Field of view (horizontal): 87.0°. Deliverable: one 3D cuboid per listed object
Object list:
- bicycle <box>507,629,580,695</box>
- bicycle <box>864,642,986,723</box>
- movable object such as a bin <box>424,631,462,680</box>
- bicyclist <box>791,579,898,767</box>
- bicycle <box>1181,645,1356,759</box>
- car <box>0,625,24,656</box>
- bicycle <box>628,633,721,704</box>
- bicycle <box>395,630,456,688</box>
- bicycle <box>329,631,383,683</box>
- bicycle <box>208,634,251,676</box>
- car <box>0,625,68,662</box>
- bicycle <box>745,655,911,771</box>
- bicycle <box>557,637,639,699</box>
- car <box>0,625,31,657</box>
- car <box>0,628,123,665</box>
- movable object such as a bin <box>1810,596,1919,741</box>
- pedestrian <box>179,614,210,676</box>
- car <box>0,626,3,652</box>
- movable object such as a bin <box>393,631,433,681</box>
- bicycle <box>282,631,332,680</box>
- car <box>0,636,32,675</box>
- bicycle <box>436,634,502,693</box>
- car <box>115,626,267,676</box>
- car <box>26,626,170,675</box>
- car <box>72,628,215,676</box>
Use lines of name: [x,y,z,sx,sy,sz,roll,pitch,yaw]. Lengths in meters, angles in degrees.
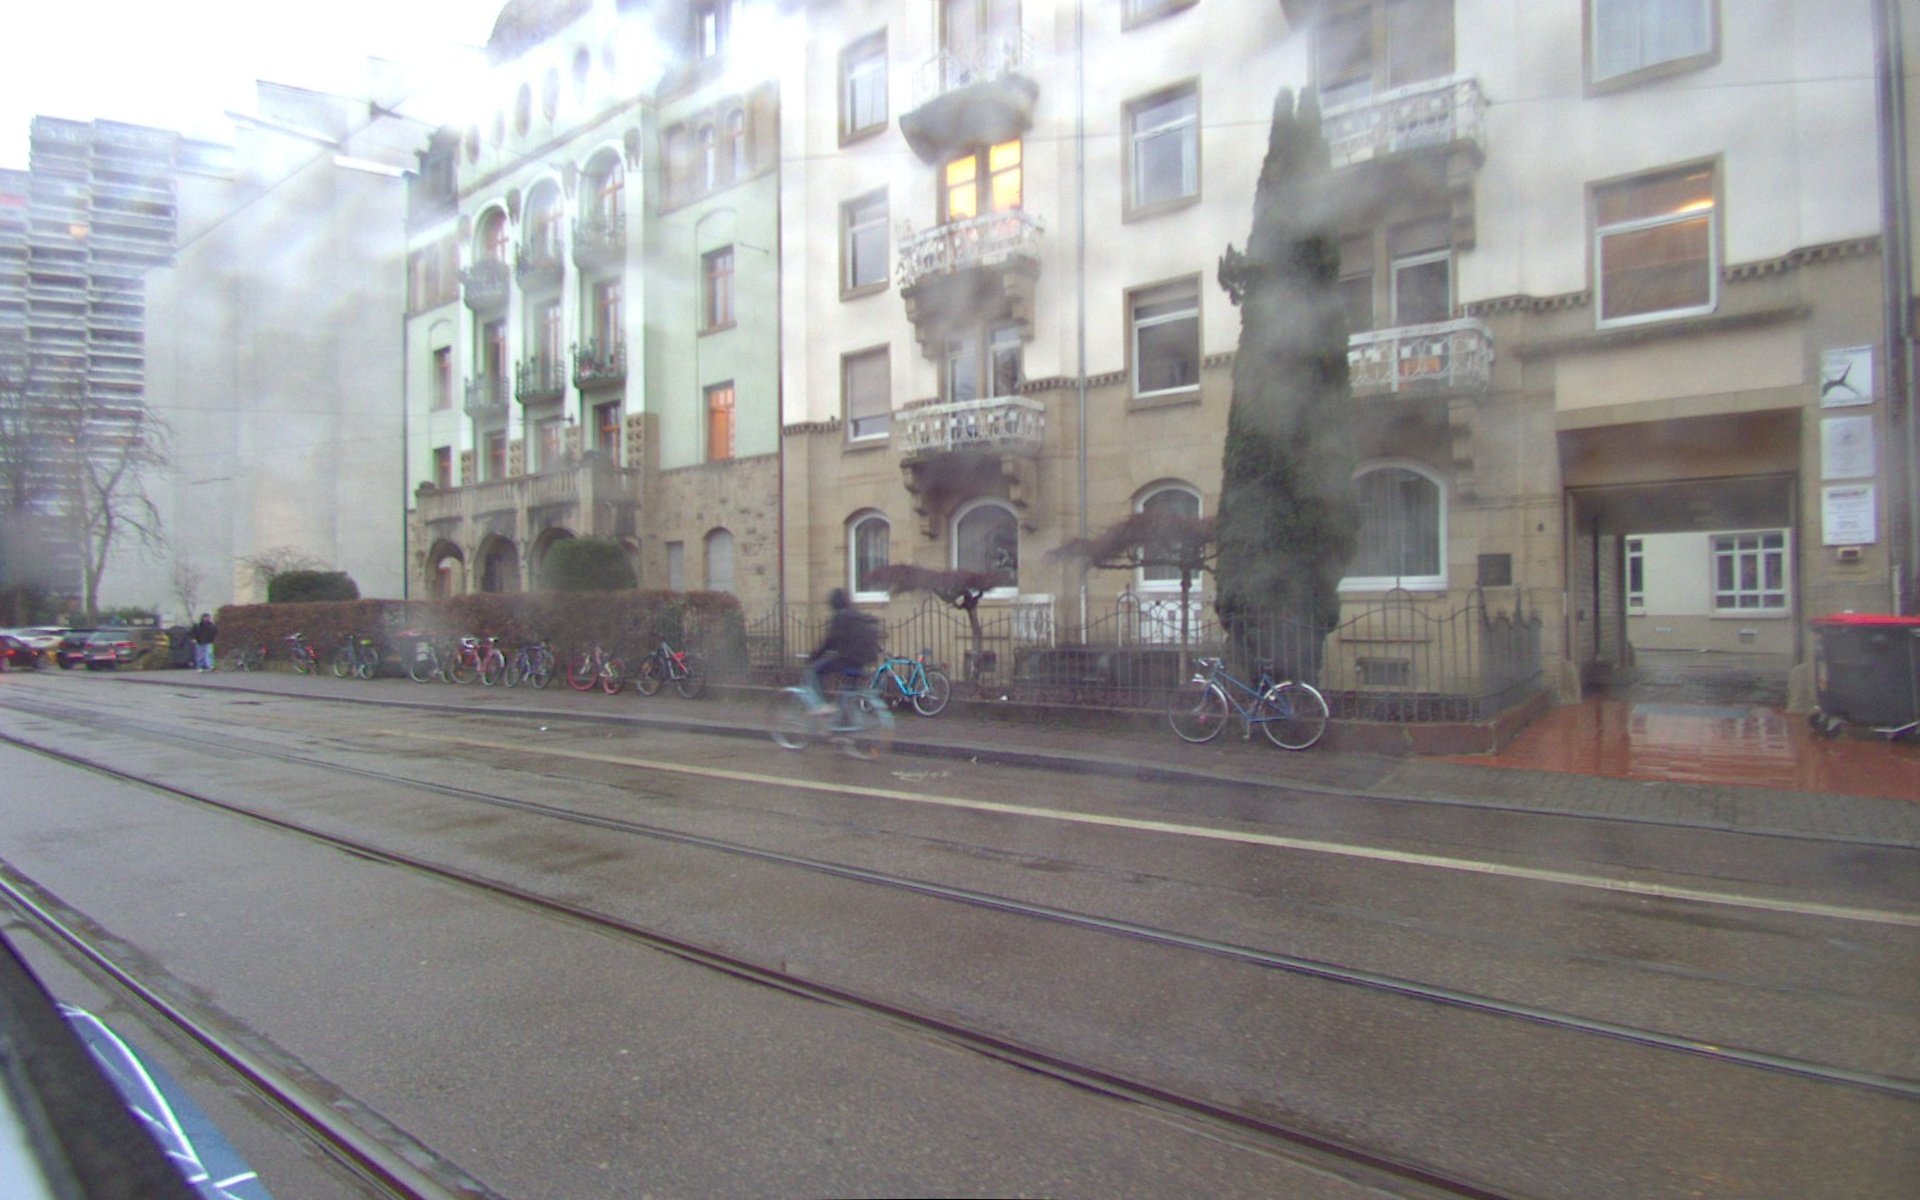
bicycle: [-8.023,1.169,19.466,1.661,1.221,0.617,-2,-2,40]
bicycle: [-0.494,1.088,13.742,1.661,1.010,0.617,-2,-2,40]
movable object such as a bin: [-12.760,1.363,24.978,0.674,1.173,0.617,-2,-2,40]
bicyclist: [-1.235,0.749,10.765,0.990,1.891,0.617,-2,-2,40]
bicycle: [3.245,1.038,10.741,1.661,1.101,0.617,-2,-2,40]
car: [-51.857,2.158,53.101,1.843,1.608,3.999,-1,-1,0]
bicycle: [-4.862,1.133,17.188,1.781,1.134,0.617,-2,-2,40]
bicycle: [-11.792,1.287,22.309,1.661,1.221,0.617,-2,-2,40]
bicycle: [-14.790,1.382,24.764,1.661,1.221,0.617,-2,-2,40]
bicycle: [-21.138,1.569,29.292,1.661,1.173,0.617,-2,-1,40]
car: [-44.192,2.015,47.115,1.843,1.608,3.999,-1,-1,0]
bicycle: [-1.455,1.173,10.929,1.946,1.101,0.617,-2,-2,40]
bicycle: [-6.605,1.215,18.411,1.725,1.073,0.617,-2,-2,40]
car: [-49.573,2.117,51.012,1.843,1.608,3.999,-1,-1,0]
car: [-38.754,1.967,43.761,1.843,1.460,3.999,-1,-1,0]
movable object such as a bin: [9.670,0.683,10.557,1.166,1.390,1.092,-2,1,39]
pedestrian: [-22.128,1.284,29.261,0.644,1.738,0.567,0,1,41]
car: [-62.260,2.479,62.864,1.843,1.608,3.999,-1,-1,0]
movable object such as a bin: [-13.187,1.331,24.384,0.674,1.173,0.651,-2,-2,40]
bicycle: [-16.944,1.425,26.240,1.661,1.221,0.617,-2,-2,40]
car: [-32.804,1.854,34.034,1.683,1.262,3.676,1,-2,-32]
bicycle: [-10.254,1.297,21.093,1.661,1.173,0.617,-2,-2,40]
car: [-25.908,1.683,34.280,1.848,1.505,3.989,-1,-1,9]
car: [-30.978,1.784,36.537,1.843,1.608,3.999,-1,-1,0]
car: [-28.186,1.761,35.116,1.740,1.497,3.999,-1,-1,0]
